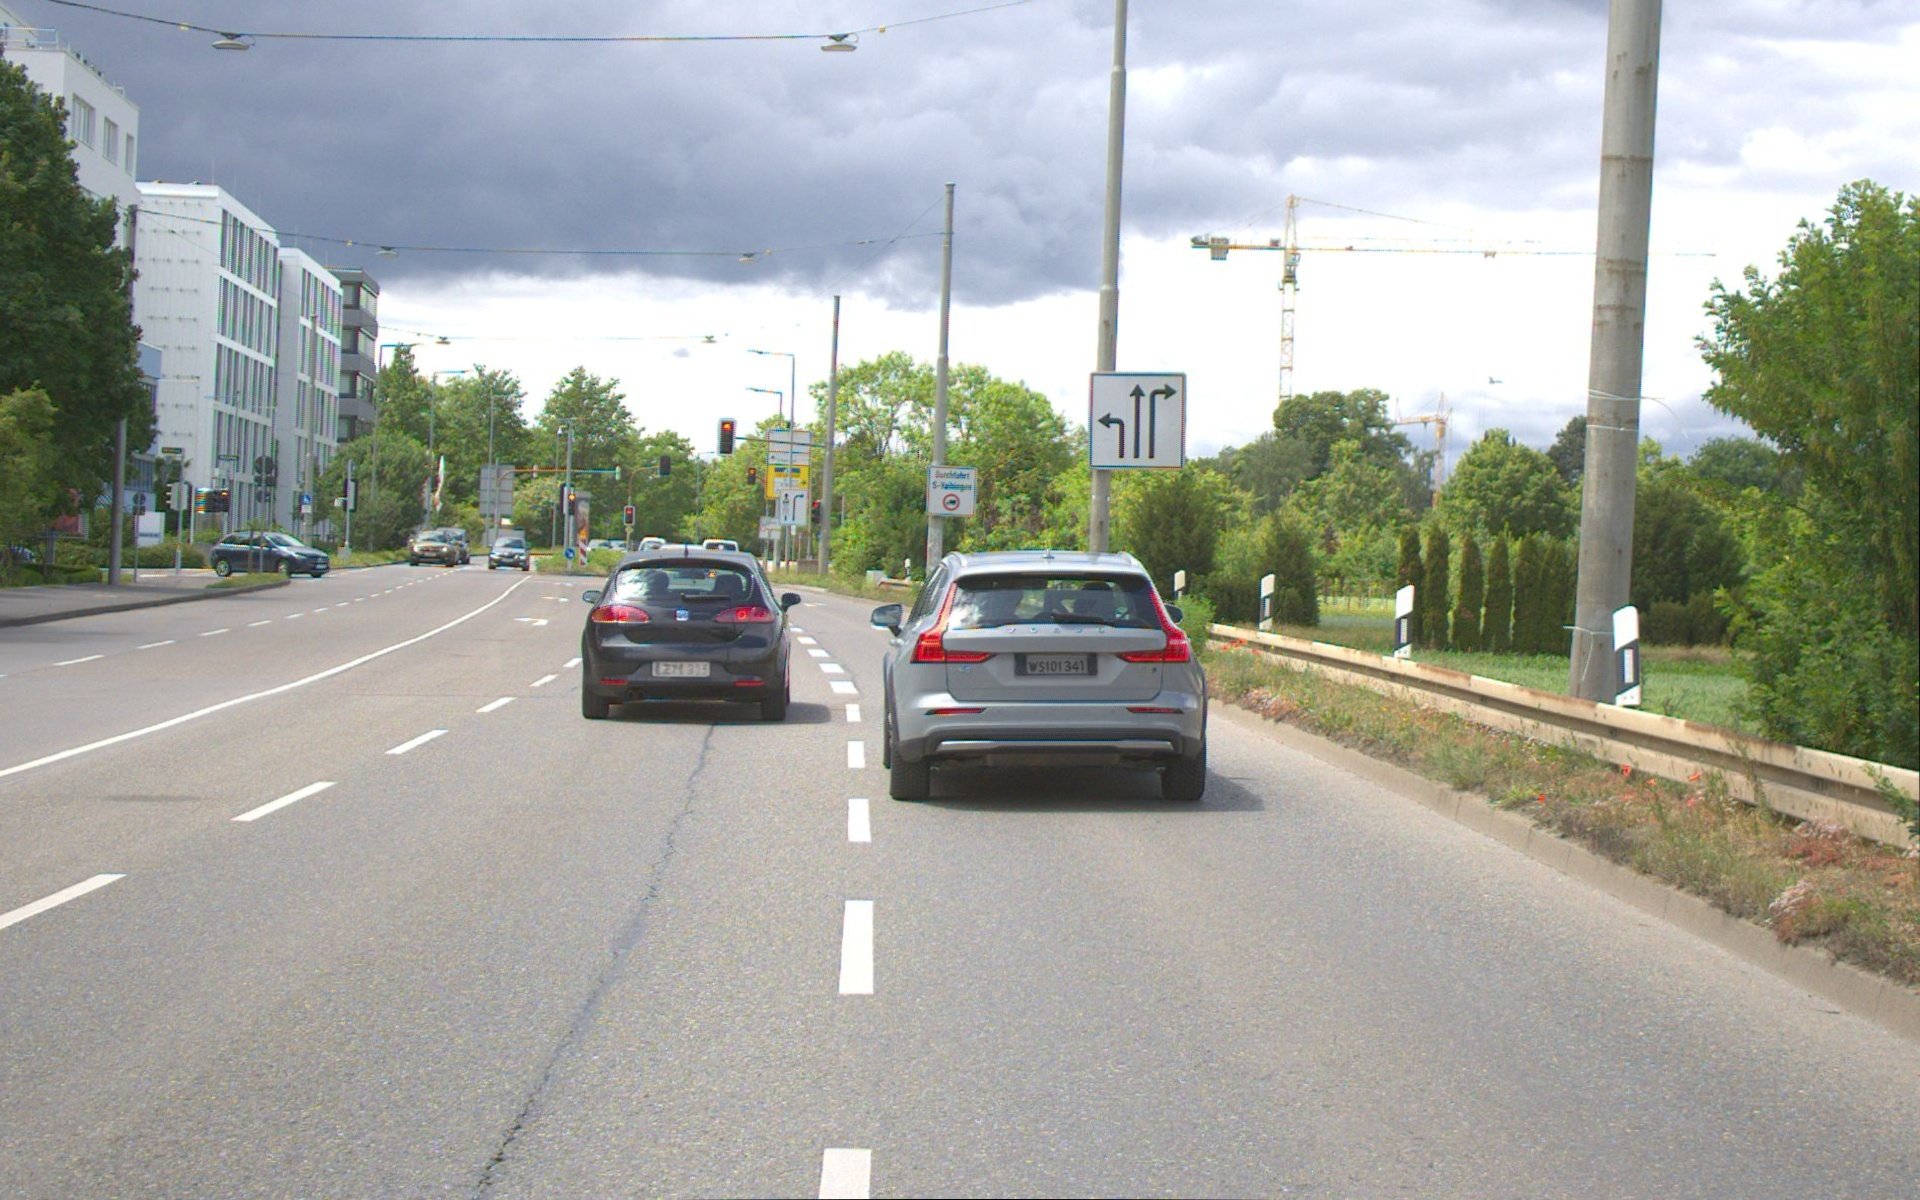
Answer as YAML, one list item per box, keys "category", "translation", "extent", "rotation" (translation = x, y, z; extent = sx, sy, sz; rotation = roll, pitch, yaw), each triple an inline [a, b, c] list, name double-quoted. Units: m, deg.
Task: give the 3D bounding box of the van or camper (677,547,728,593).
- category: "van or camper"
  translation: [-12.225, -1.423, 163.039]
  extent: [1.898, 1.919, 4.001]
  rotation: [5, 1, -9]

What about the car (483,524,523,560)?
- category: "car"
  translation: [-20.057, -2.553, 150.858]
  extent: [1.668, 1.519, 4.009]
  rotation: [0, 2, -7]

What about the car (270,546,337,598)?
- category: "car"
  translation: [-22.430, -0.964, 117.607]
  extent: [1.796, 1.579, 4.314]
  rotation: [5, 0, -6]

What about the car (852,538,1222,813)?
- category: "car"
  translation: [0.368, 0.411, 21.457]
  extent: [1.958, 1.520, 4.340]
  rotation: [1, 0, -3]

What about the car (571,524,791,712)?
- category: "car"
  translation: [-2.403, 0.136, 30.264]
  extent: [1.747, 1.479, 4.000]
  rotation: [2, 0, -3]

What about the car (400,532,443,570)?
- category: "car"
  translation: [-23.845, -2.182, 152.307]
  extent: [1.751, 1.625, 4.001]
  rotation: [0, 1, -7]

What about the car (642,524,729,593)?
- category: "car"
  translation: [-7.113, -1.088, 88.724]
  extent: [1.983, 1.584, 4.227]
  rotation: [3, 2, -7]
